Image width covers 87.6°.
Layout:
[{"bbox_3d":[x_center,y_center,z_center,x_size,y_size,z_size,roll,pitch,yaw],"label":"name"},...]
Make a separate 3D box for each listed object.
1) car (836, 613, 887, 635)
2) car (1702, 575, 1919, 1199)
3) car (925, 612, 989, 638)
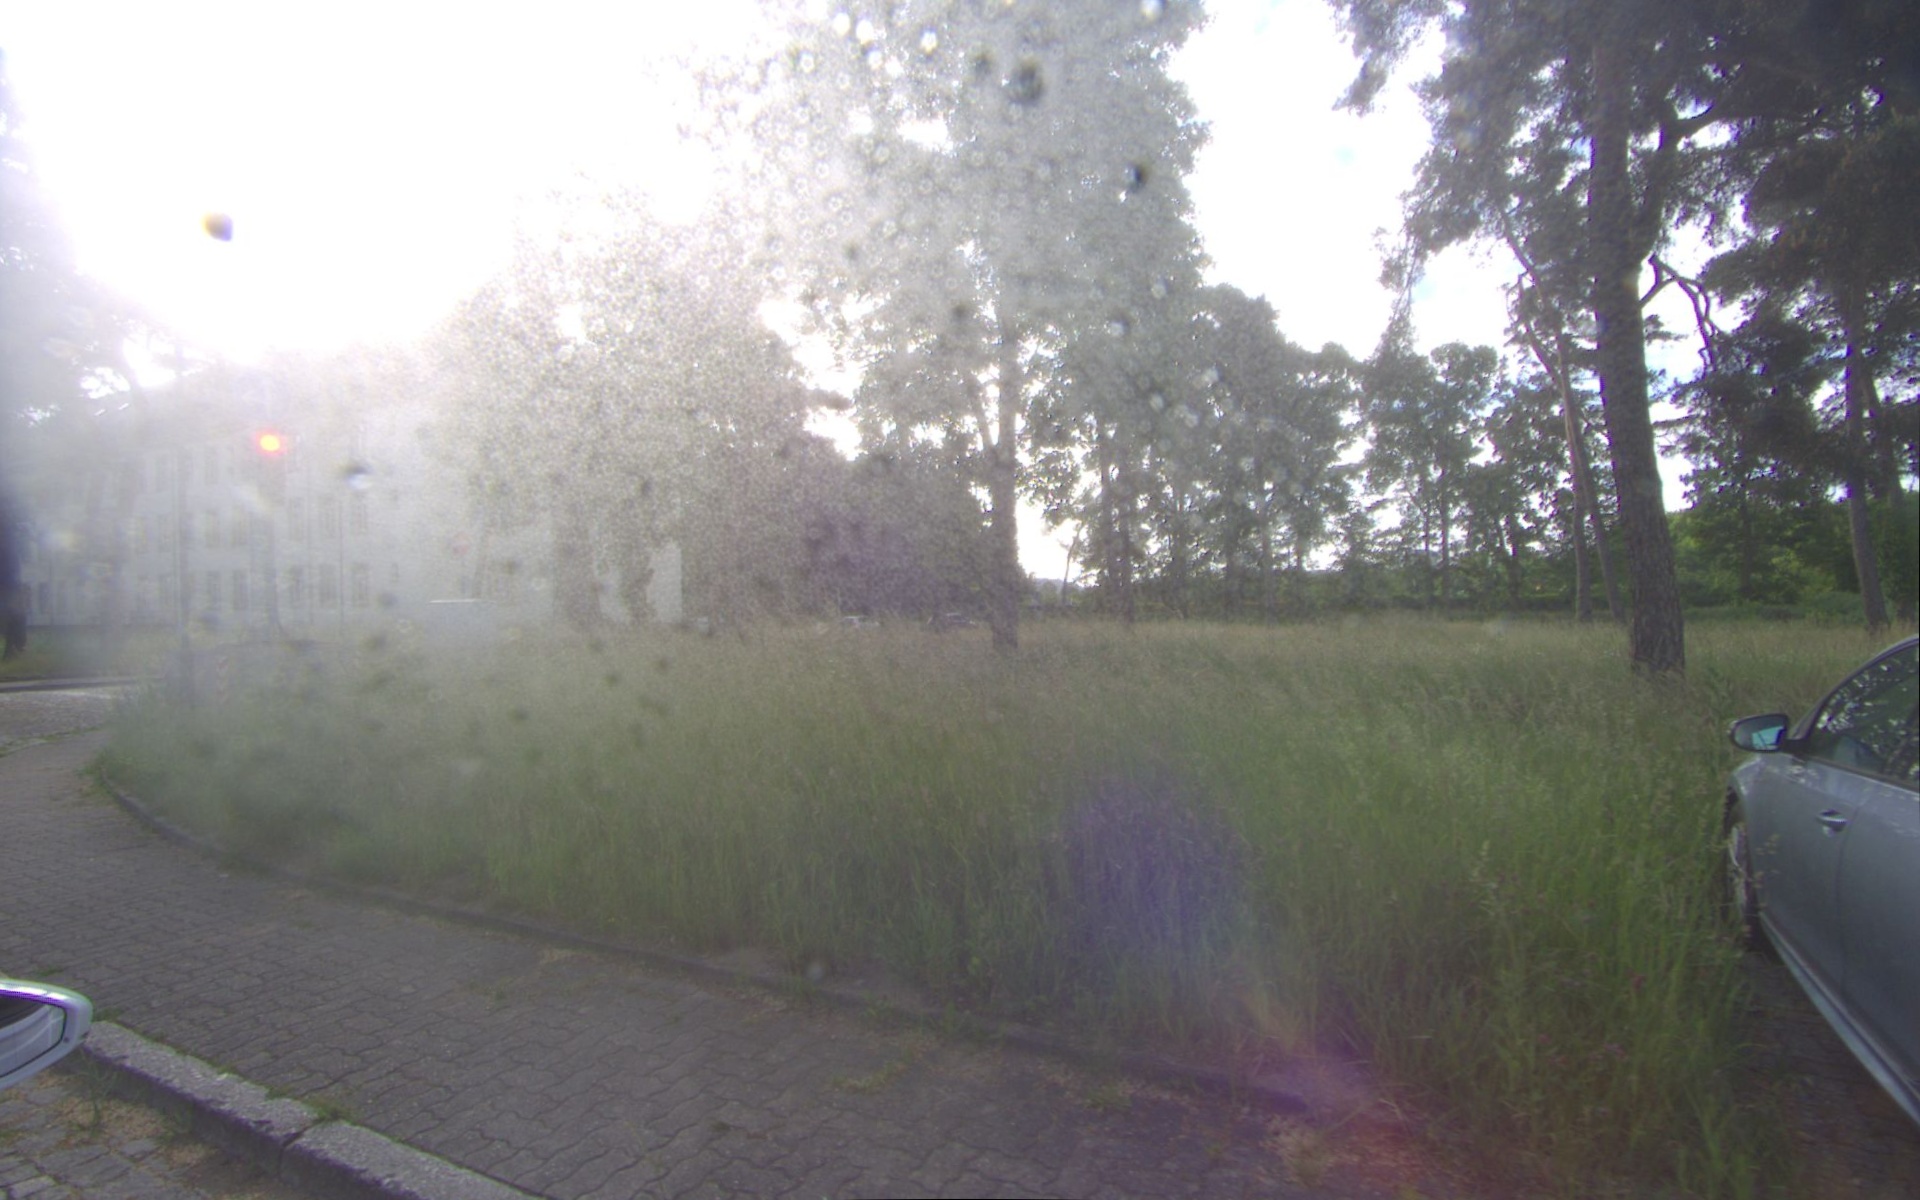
[{"bbox_3d":[-6.802,1.715,69.339,1.540,1.415,3.985,-1,-3,29],"label":"car"},{"bbox_3d":[3.280,0.683,2.555,1.616,1.490,3.840,0,-1,27],"label":"car"},{"bbox_3d":[-0.222,1.578,64.231,3.923,1.622,1.999,0,0,-8],"label":"car"}]
